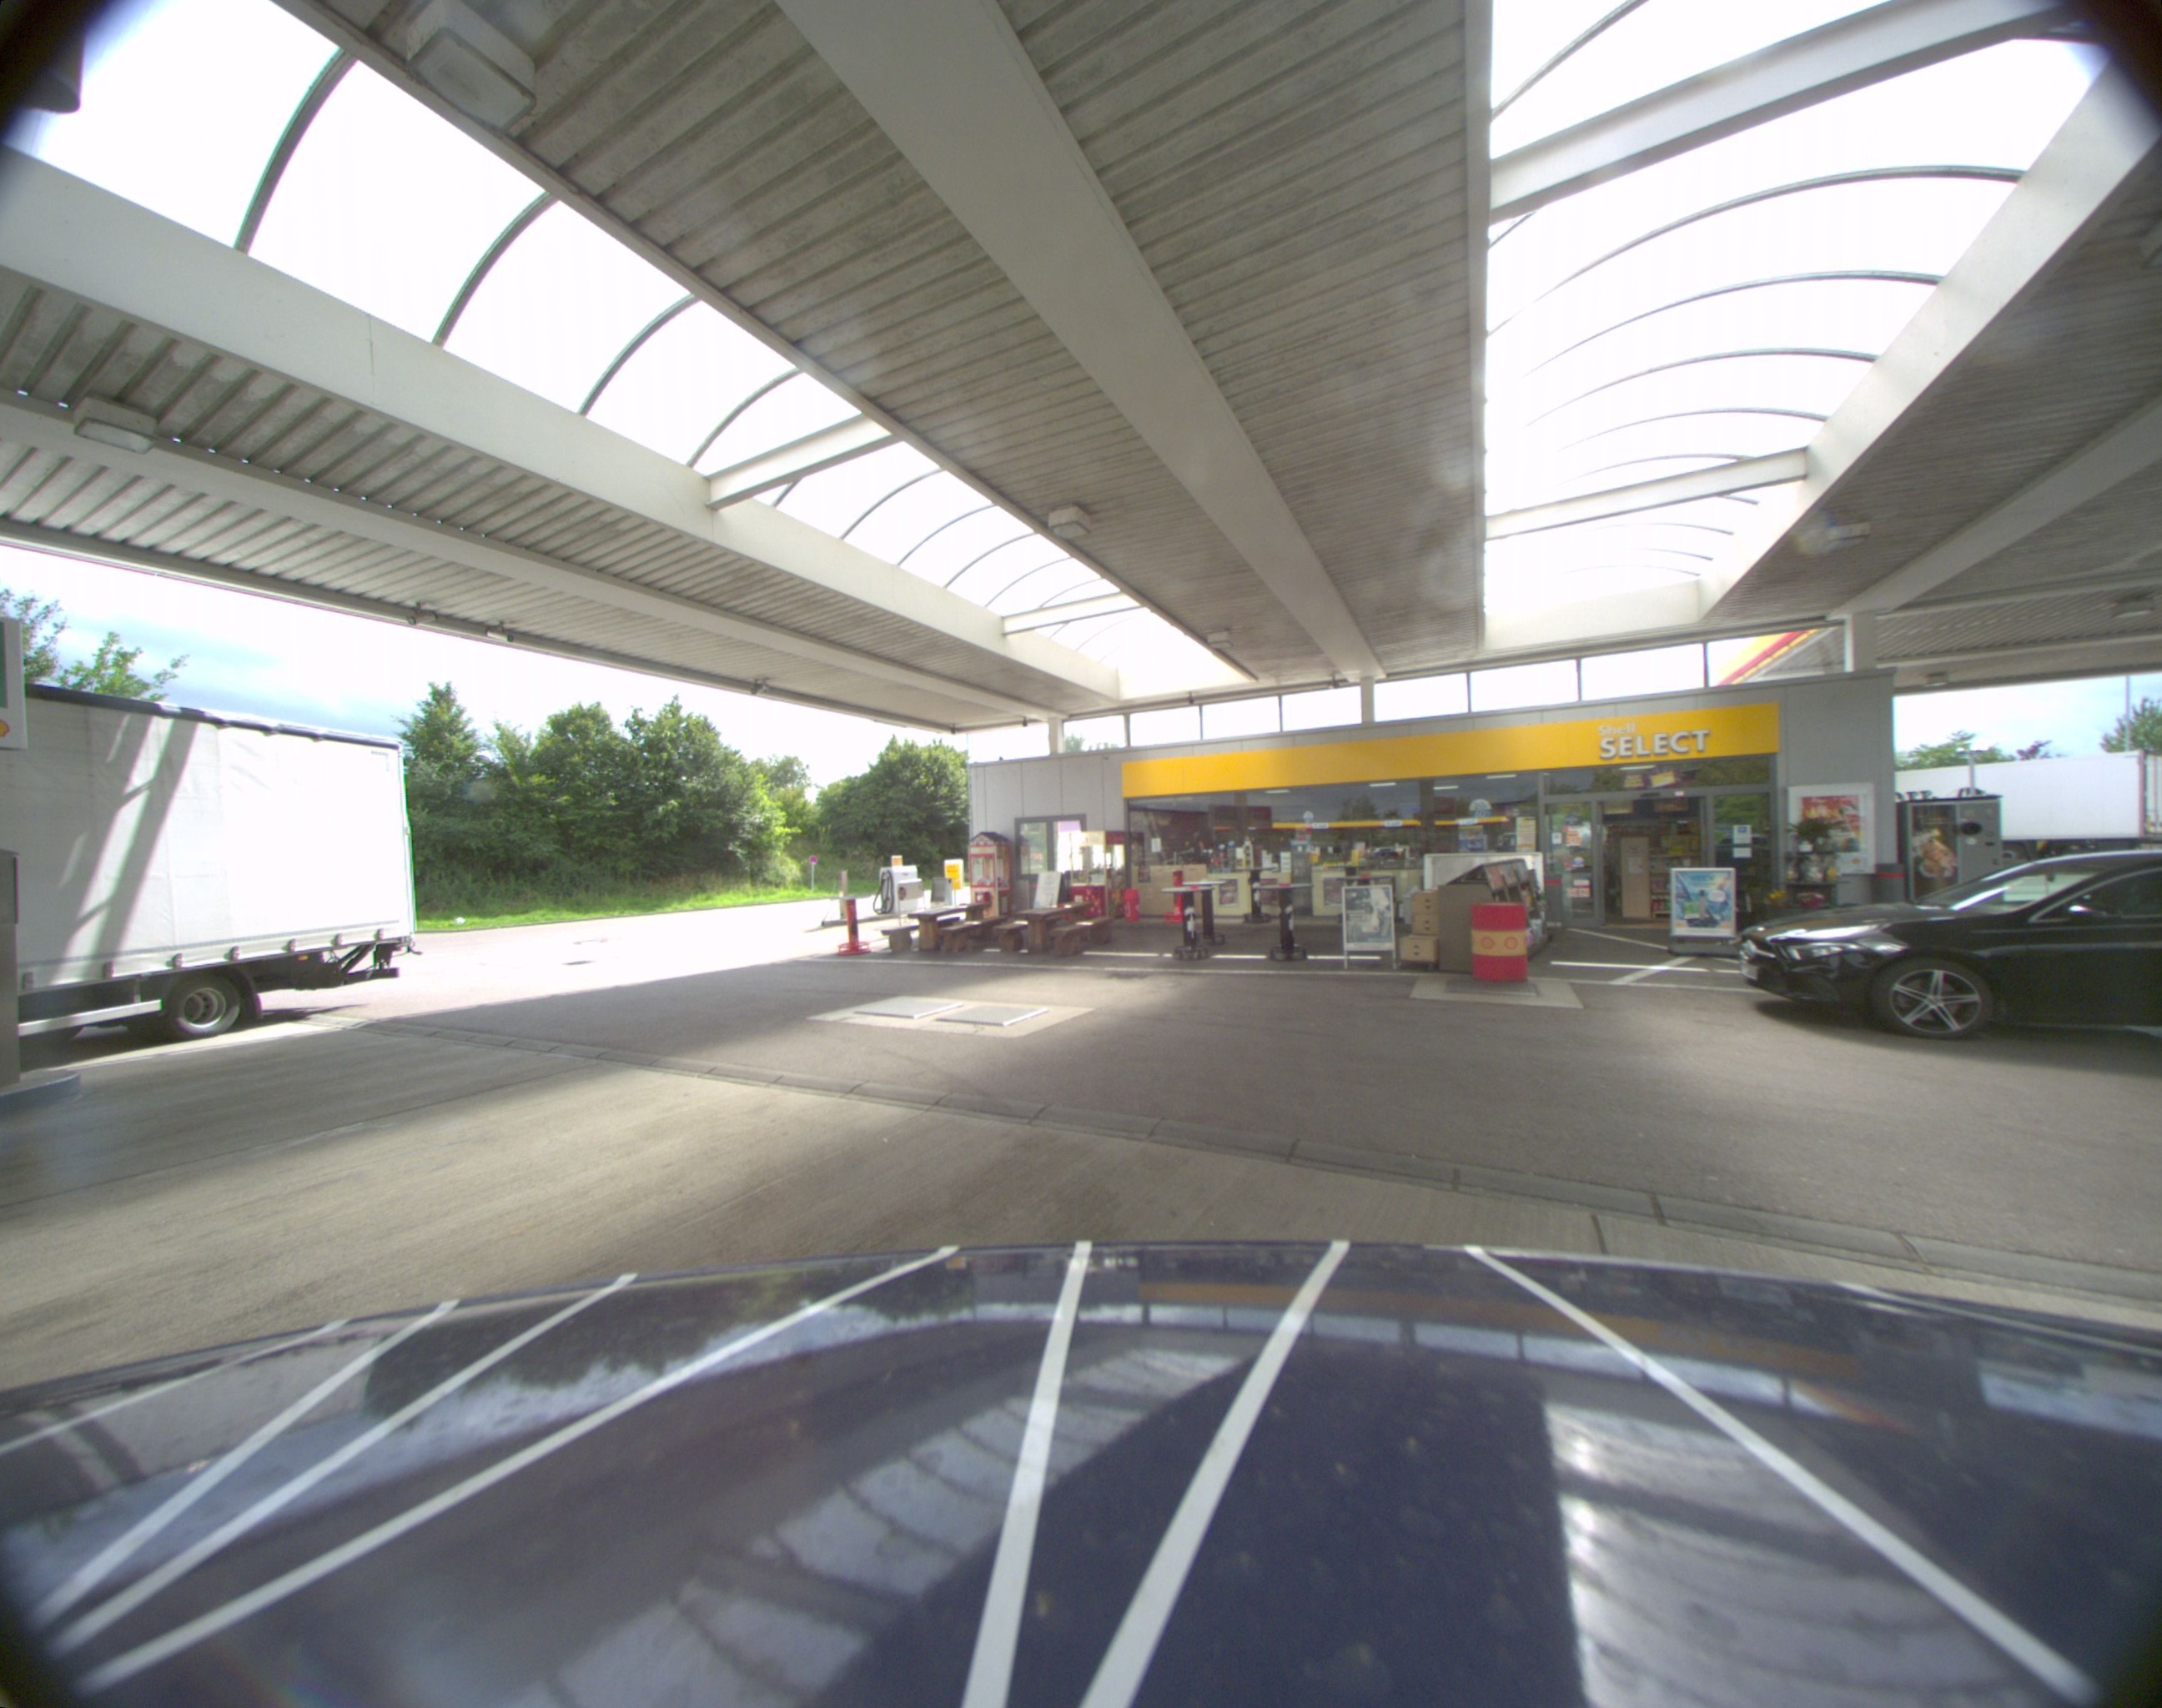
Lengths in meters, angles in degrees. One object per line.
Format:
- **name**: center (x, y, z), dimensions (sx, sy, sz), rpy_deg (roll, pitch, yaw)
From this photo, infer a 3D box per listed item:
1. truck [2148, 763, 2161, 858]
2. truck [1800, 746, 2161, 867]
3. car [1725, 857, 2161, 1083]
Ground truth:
- **truck**: center (51.477, -2.042, 33.147), dimensions (3.383, 4.479, 6.239), rpy_deg (-2, 1, 29)
- **truck**: center (35.129, -1.614, 30.068), dimensions (2.796, 3.982, 9.578), rpy_deg (-3, 1, -16)
- **car**: center (8.140, 0.814, 5.926), dimensions (4.461, 1.491, 1.782), rpy_deg (-2, 1, 28)
